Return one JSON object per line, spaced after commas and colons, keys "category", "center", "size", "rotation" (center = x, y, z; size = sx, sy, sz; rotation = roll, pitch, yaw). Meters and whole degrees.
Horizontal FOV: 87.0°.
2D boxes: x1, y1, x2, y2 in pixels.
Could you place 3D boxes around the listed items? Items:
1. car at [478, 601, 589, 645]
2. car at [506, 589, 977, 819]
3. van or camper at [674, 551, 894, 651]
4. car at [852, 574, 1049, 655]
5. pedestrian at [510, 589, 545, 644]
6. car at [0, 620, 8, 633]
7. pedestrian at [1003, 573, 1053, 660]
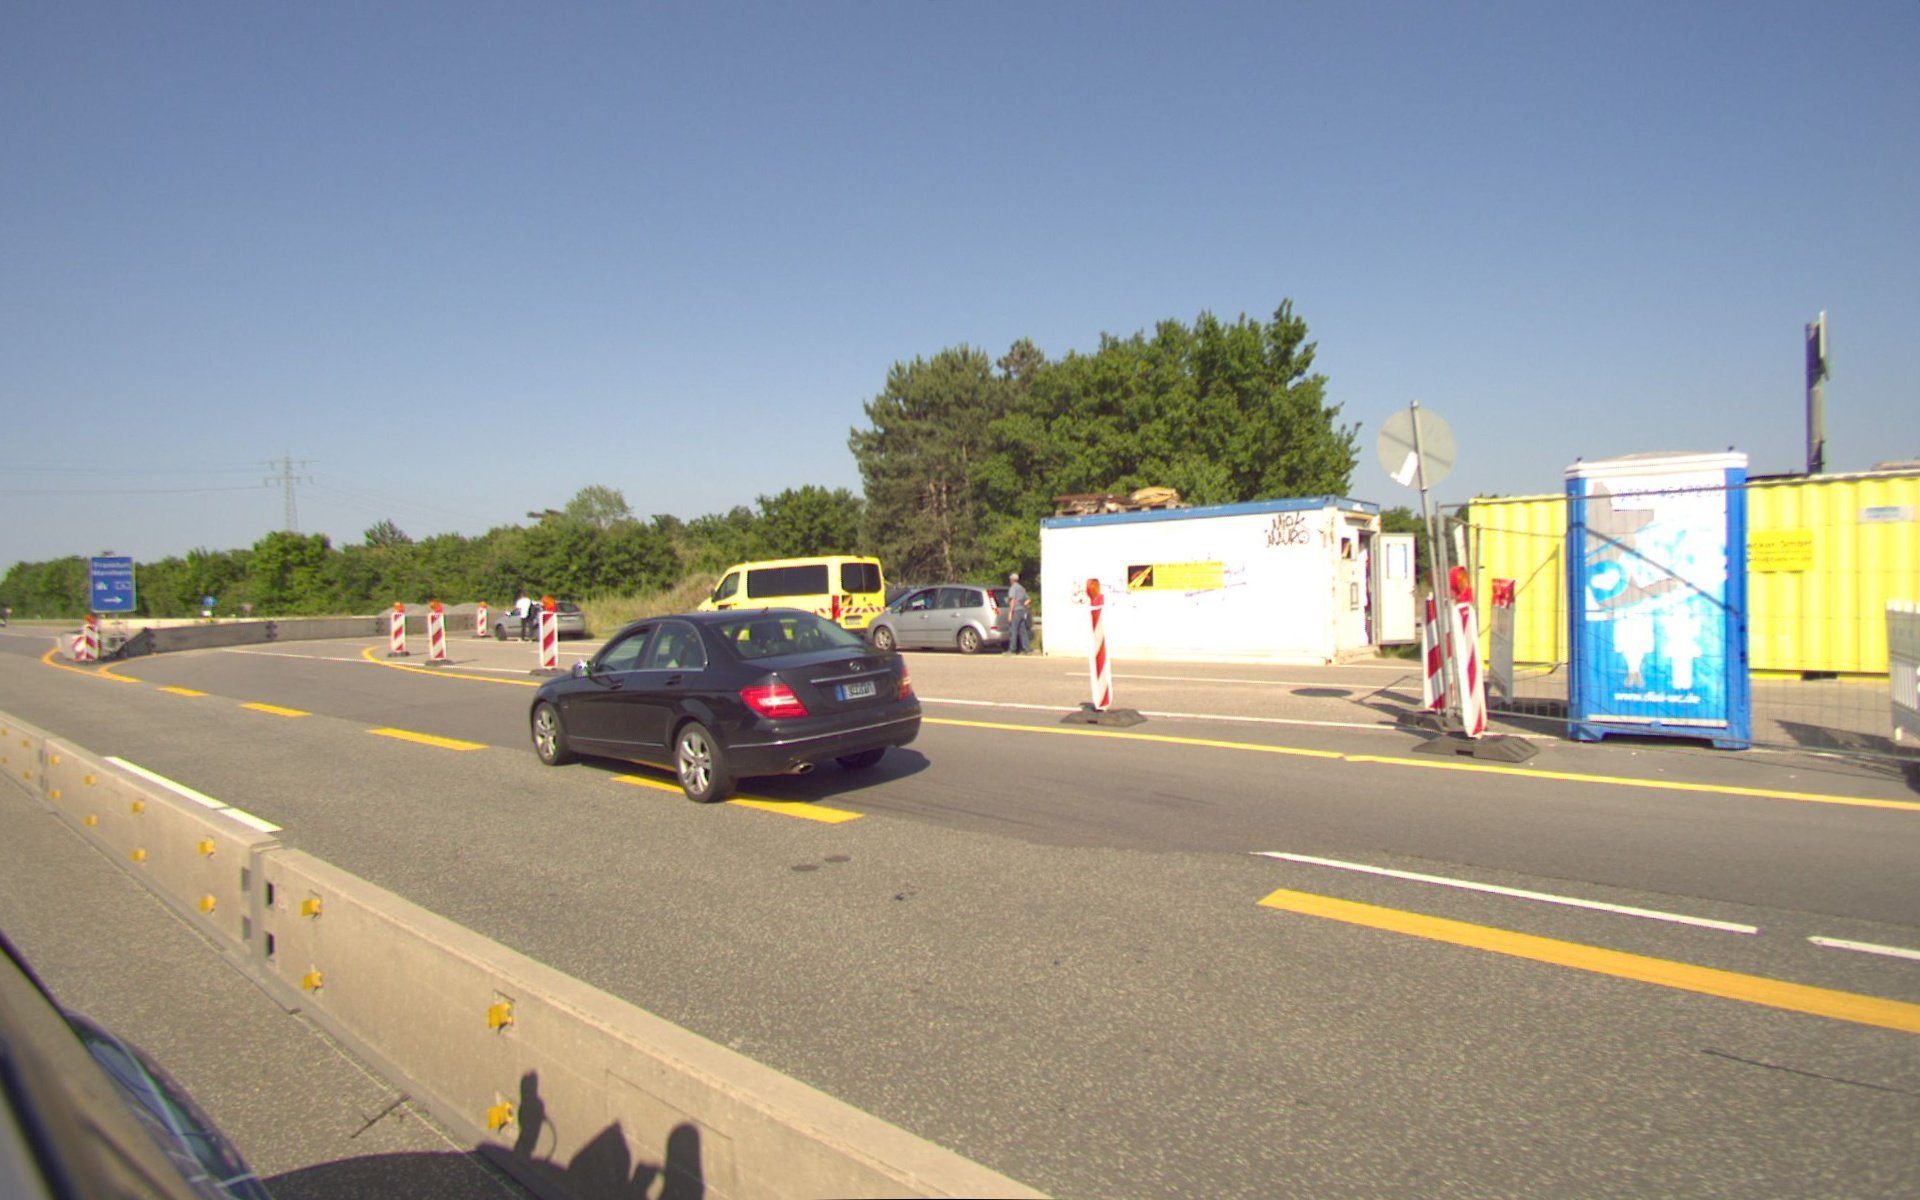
{"category": "car", "center": [-15.583, 0.832, 36.880], "size": [4.289, 1.471, 1.845], "rotation": [-1, 1, 38]}
{"category": "car", "center": [-2.188, 0.732, 9.053], "size": [4.686, 1.484, 1.838], "rotation": [-2, 1, 45]}
{"category": "van or camper", "center": [-4.792, 0.046, 26.886], "size": [6.188, 2.396, 1.976], "rotation": [-1, 0, 36]}
{"category": "car", "center": [-0.289, 0.331, 23.352], "size": [4.453, 1.698, 1.671], "rotation": [-1, 1, 39]}
{"category": "pedestrian", "center": [-14.712, 0.550, 34.411], "size": [0.794, 1.834, 0.736], "rotation": [-2, -1, 30]}
{"category": "car", "center": [-119.342, 3.288, 125.367], "size": [4.177, 1.527, 1.693], "rotation": [-1, 0, 42]}
{"category": "pedestrian", "center": [1.425, 0.340, 21.234], "size": [0.720, 1.775, 0.715], "rotation": [-2, -1, 40]}
